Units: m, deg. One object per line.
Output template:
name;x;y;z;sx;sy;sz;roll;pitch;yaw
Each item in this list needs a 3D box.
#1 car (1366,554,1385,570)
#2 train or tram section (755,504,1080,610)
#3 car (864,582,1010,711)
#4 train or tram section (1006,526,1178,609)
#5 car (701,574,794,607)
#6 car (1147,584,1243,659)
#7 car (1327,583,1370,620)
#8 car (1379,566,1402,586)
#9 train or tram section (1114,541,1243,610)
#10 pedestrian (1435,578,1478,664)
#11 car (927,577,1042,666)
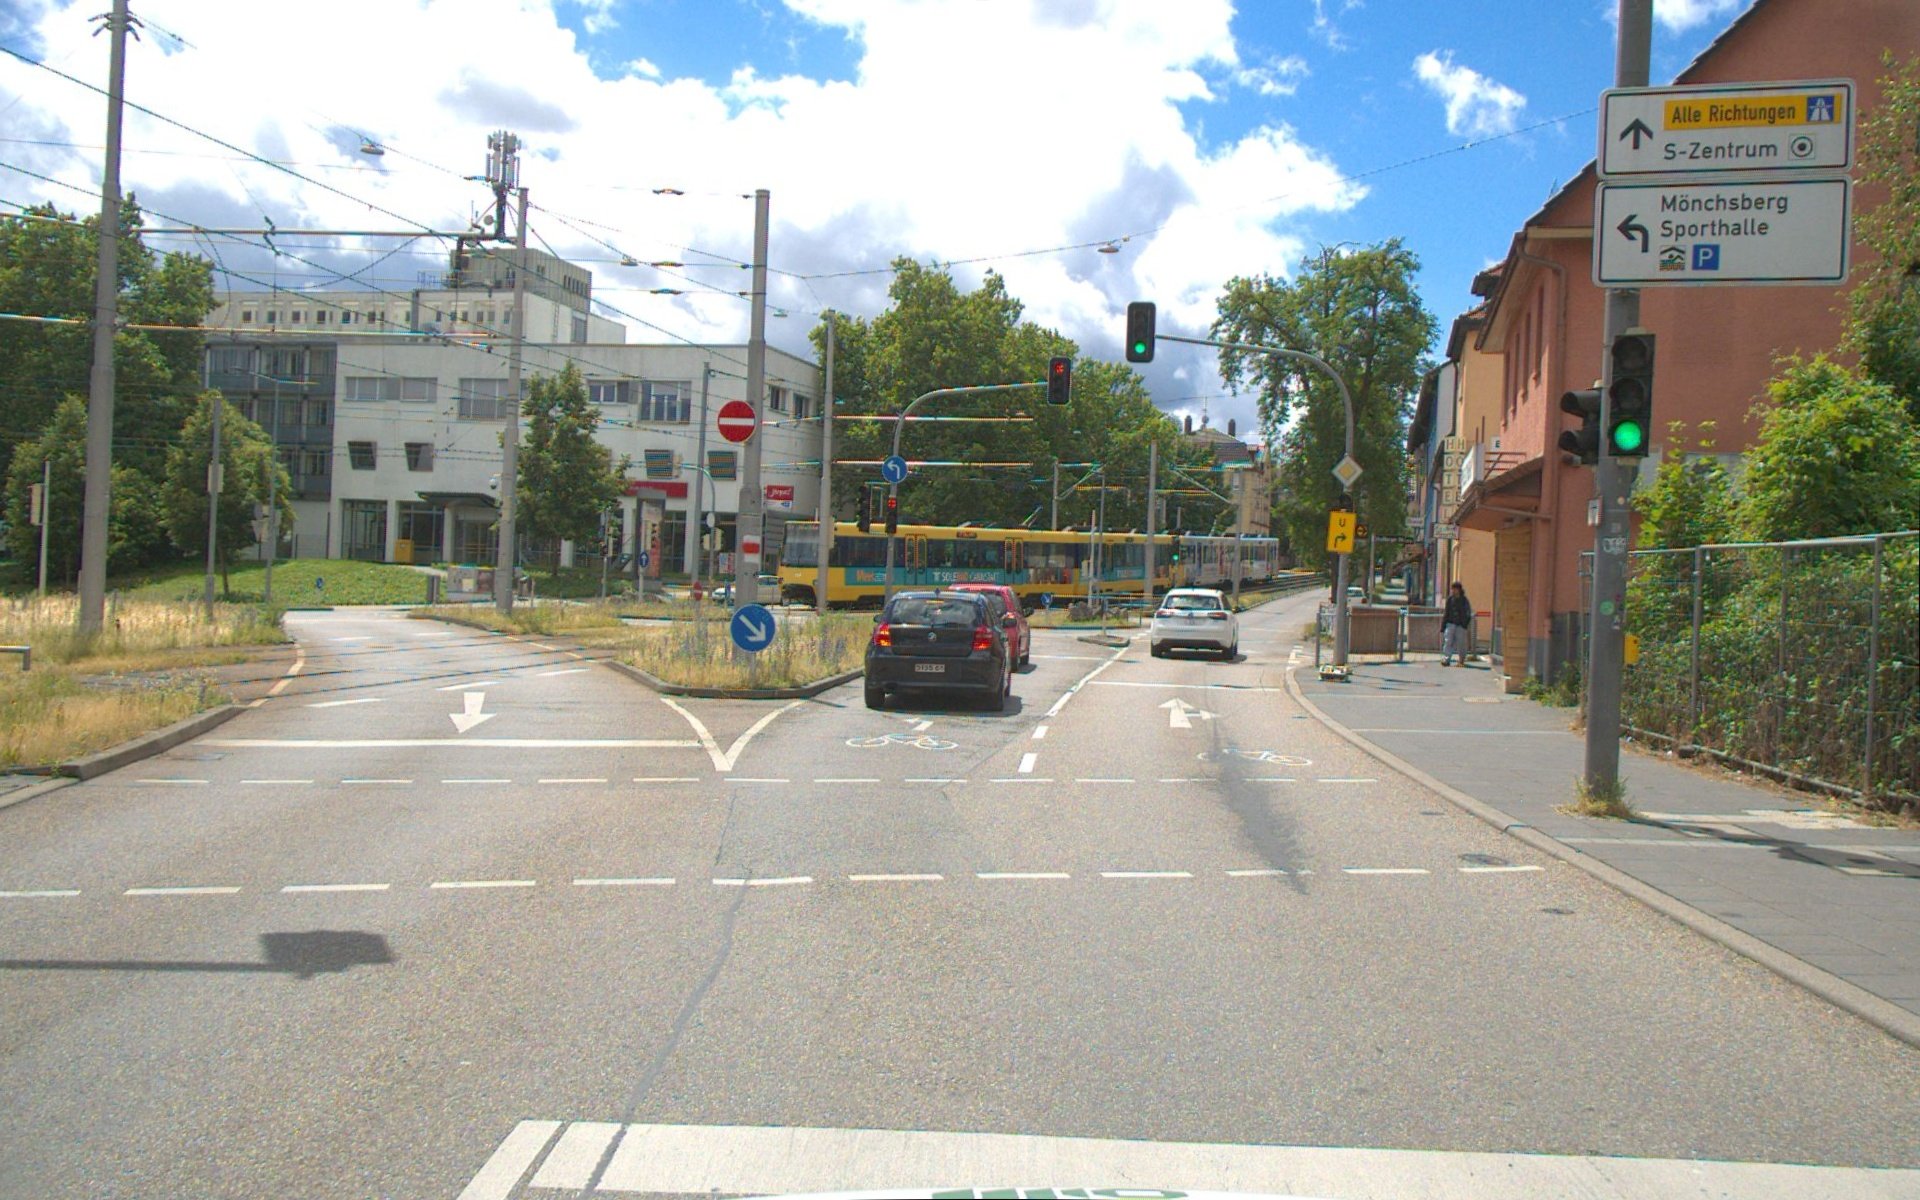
car;56.233;-5.119;223.810;1.953;2.049;3.998;0;0;23
train or tram section;-1.218;-1.610;72.412;3.686;3.987;18.826;0;0;35
car;-0.277;0.546;21.095;1.666;1.477;3.999;1;0;0
train or tram section;7.553;-1.495;88.730;3.672;3.896;20.149;0;0;21
car;-9.655;-0.428;75.481;1.856;1.442;3.975;0;0;42
car;5.284;0.427;36.837;1.776;1.494;4.004;3;1;12
car;17.328;0.078;73.719;1.749;1.624;4.003;0;0;15
car;42.283;-2.361;162.432;2.078;1.890;3.740;1;1;16
train or tram section;14.492;-1.387;106.964;3.672;3.947;20.637;0;0;21
pedestrian;9.887;0.416;32.944;0.748;1.671;0.778;1;1;13
car;0.518;0.373;30.115;1.590;1.499;4.003;0;0;8
